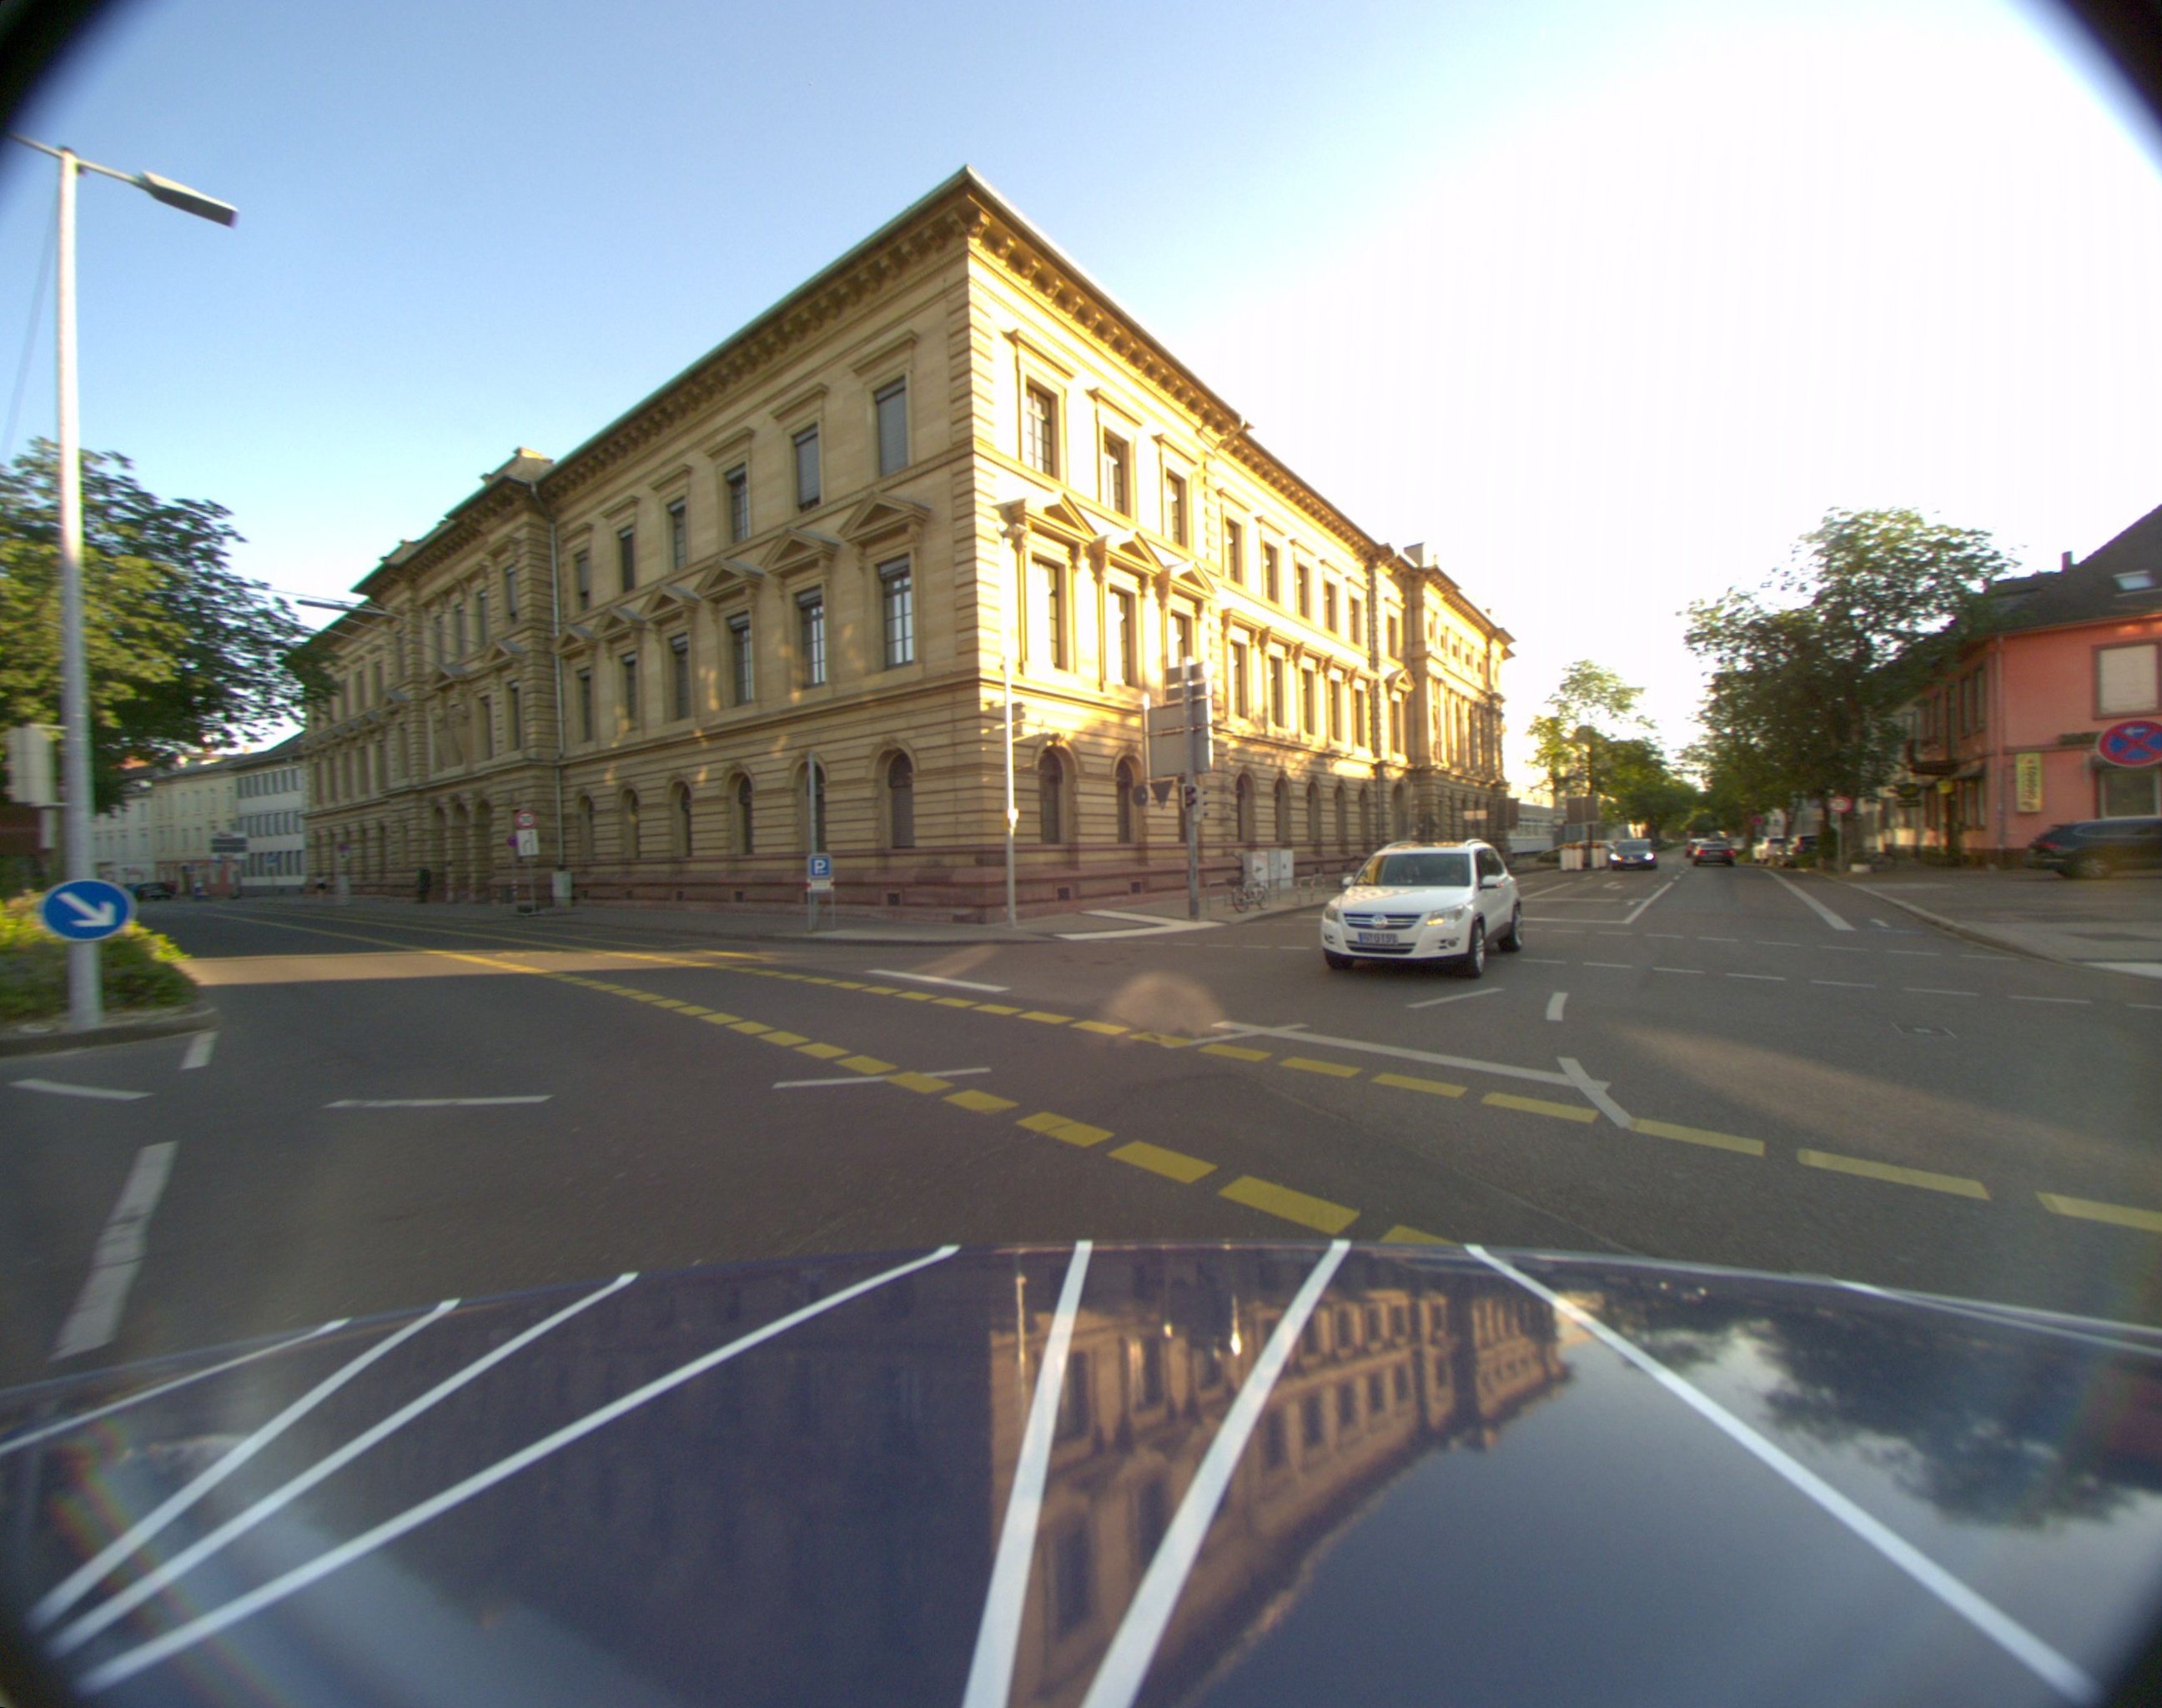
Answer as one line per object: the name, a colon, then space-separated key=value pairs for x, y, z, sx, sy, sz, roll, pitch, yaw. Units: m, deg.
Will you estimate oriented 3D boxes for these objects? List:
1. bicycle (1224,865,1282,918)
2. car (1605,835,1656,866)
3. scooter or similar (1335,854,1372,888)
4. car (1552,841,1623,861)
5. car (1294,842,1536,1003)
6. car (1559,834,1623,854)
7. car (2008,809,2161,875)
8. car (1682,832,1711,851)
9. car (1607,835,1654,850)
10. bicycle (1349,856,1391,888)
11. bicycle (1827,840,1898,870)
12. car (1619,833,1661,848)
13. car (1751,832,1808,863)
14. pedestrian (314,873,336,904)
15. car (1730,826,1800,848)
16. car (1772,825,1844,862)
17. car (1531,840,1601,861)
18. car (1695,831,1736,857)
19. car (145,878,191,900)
bicycle: x=4.478 y=0.942 z=19.693 sx=0.582 sy=1.182 sz=1.923 roll=-1 pitch=2 yaw=41
car: x=29.048 y=-0.214 z=40.104 sx=1.947 sy=1.546 sz=4.008 roll=-1 pitch=0 yaw=39
scooter or similar: x=9.871 y=0.606 z=27.535 sx=0.585 sy=1.189 sz=1.131 roll=-2 pitch=3 yaw=-31
car: x=39.330 y=-0.261 z=59.070 sx=4.358 sy=1.487 sz=1.676 roll=2 pitch=3 yaw=40
car: x=4.776 y=0.719 z=10.440 sx=1.953 sy=1.667 sz=4.551 roll=-1 pitch=1 yaw=38
car: x=43.137 y=-0.843 z=64.318 sx=4.358 sy=1.633 sz=2.058 roll=1 pitch=2 yaw=38
car: x=29.237 y=-0.370 z=20.874 sx=4.421 sy=1.655 sz=1.867 roll=-4 pitch=-1 yaw=39
car: x=51.514 y=-1.056 z=63.667 sx=1.831 sy=1.536 sz=4.857 roll=0 pitch=1 yaw=38
car: x=65.150 y=-1.396 z=90.117 sx=4.358 sy=1.768 sz=1.737 roll=1 pitch=2 yaw=38
bicycle: x=10.874 y=0.658 z=28.568 sx=0.827 sy=1.128 sz=1.948 roll=2 pitch=3 yaw=41
bicycle: x=30.798 y=0.049 z=29.971 sx=1.867 sy=1.098 sz=0.611 roll=-2 pitch=1 yaw=34
car: x=72.759 y=-1.719 z=98.954 sx=4.358 sy=1.863 sz=1.737 roll=0 pitch=2 yaw=38
car: x=43.542 y=-0.432 z=47.478 sx=1.829 sy=1.658 sz=4.665 roll=-6 pitch=-2 yaw=34
pedestrian: x=-45.795 y=2.093 z=46.034 sx=0.810 sy=1.842 sz=0.776 roll=-1 pitch=1 yaw=35
car: x=57.416 y=-1.410 z=63.902 sx=4.221 sy=1.680 sz=1.804 roll=-1 pitch=1 yaw=38
car: x=38.668 y=-0.572 z=40.523 sx=1.829 sy=1.748 sz=5.058 roll=-6 pitch=-2 yaw=34
car: x=36.822 y=-0.315 z=57.741 sx=4.358 sy=1.456 sz=1.837 roll=2 pitch=3 yaw=36
car: x=37.366 y=-0.602 z=44.777 sx=1.783 sy=1.451 sz=4.432 roll=0 pitch=1 yaw=40
car: x=-80.317 y=3.063 z=66.826 sx=3.816 sy=1.837 sz=1.721 roll=-1 pitch=0 yaw=27
